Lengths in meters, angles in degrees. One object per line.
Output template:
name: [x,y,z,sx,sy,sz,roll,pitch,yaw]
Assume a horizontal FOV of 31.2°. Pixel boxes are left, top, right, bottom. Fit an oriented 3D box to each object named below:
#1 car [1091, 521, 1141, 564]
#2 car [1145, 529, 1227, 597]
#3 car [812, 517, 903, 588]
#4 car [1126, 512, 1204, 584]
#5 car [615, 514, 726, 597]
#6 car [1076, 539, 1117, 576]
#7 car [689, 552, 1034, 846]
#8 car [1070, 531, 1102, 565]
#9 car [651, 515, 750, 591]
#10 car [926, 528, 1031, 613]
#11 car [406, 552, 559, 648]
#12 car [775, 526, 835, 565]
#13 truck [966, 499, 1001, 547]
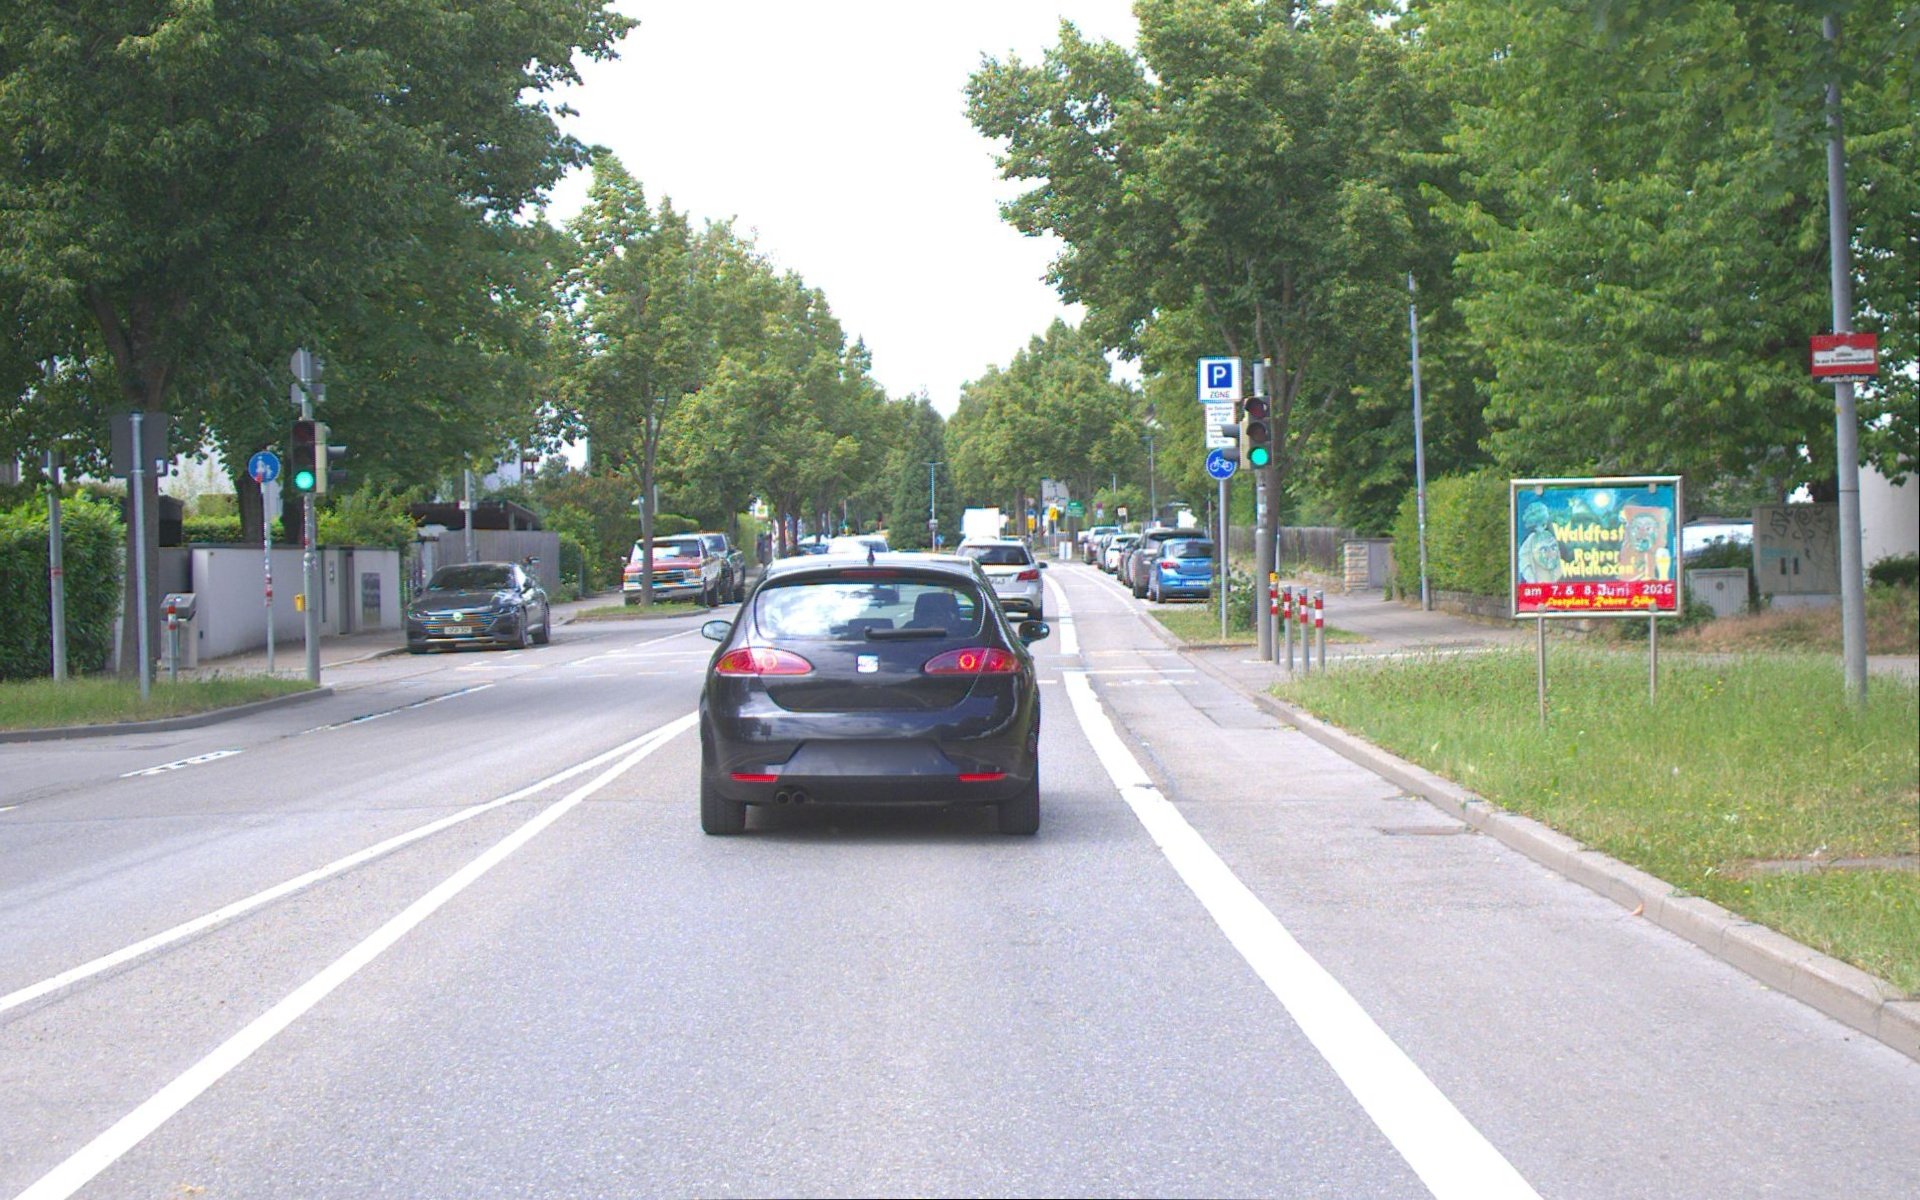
car: [5.783,-2.163,128.079,1.688,1.558,4.214,-1,1,1]
car: [5.205,-0.874,79.591,1.688,1.485,3.355,-1,1,1]
car: [-2.537,-1.211,86.270,1.875,1.629,4.340,-3,1,3]
car: [5.042,-1.300,84.826,1.688,1.705,4.214,-1,1,1]
car: [-7.147,-1.129,85.403,2.100,1.890,5.784,-3,1,1]
car: [6.047,-1.895,152.407,1.688,1.558,4.214,-1,1,1]
car: [-0.497,0.453,18.551,1.663,1.396,3.812,0,1,-1]
car: [7.148,-2.981,195.644,1.688,1.868,4.214,-1,1,1]
car: [-6.963,-1.303,92.882,2.100,1.890,5.784,-3,1,1]
car: [0.377,-0.553,63.231,1.846,1.504,3.812,1,1,1]
car: [-7.747,-0.032,56.130,1.718,1.390,4.801,-3,1,1]
car: [-6.388,-2.279,142.652,2.100,1.501,5.784,-3,1,1]
truck: [1.536,-5.134,230.827,2.279,3.093,8.511,1,1,0]
